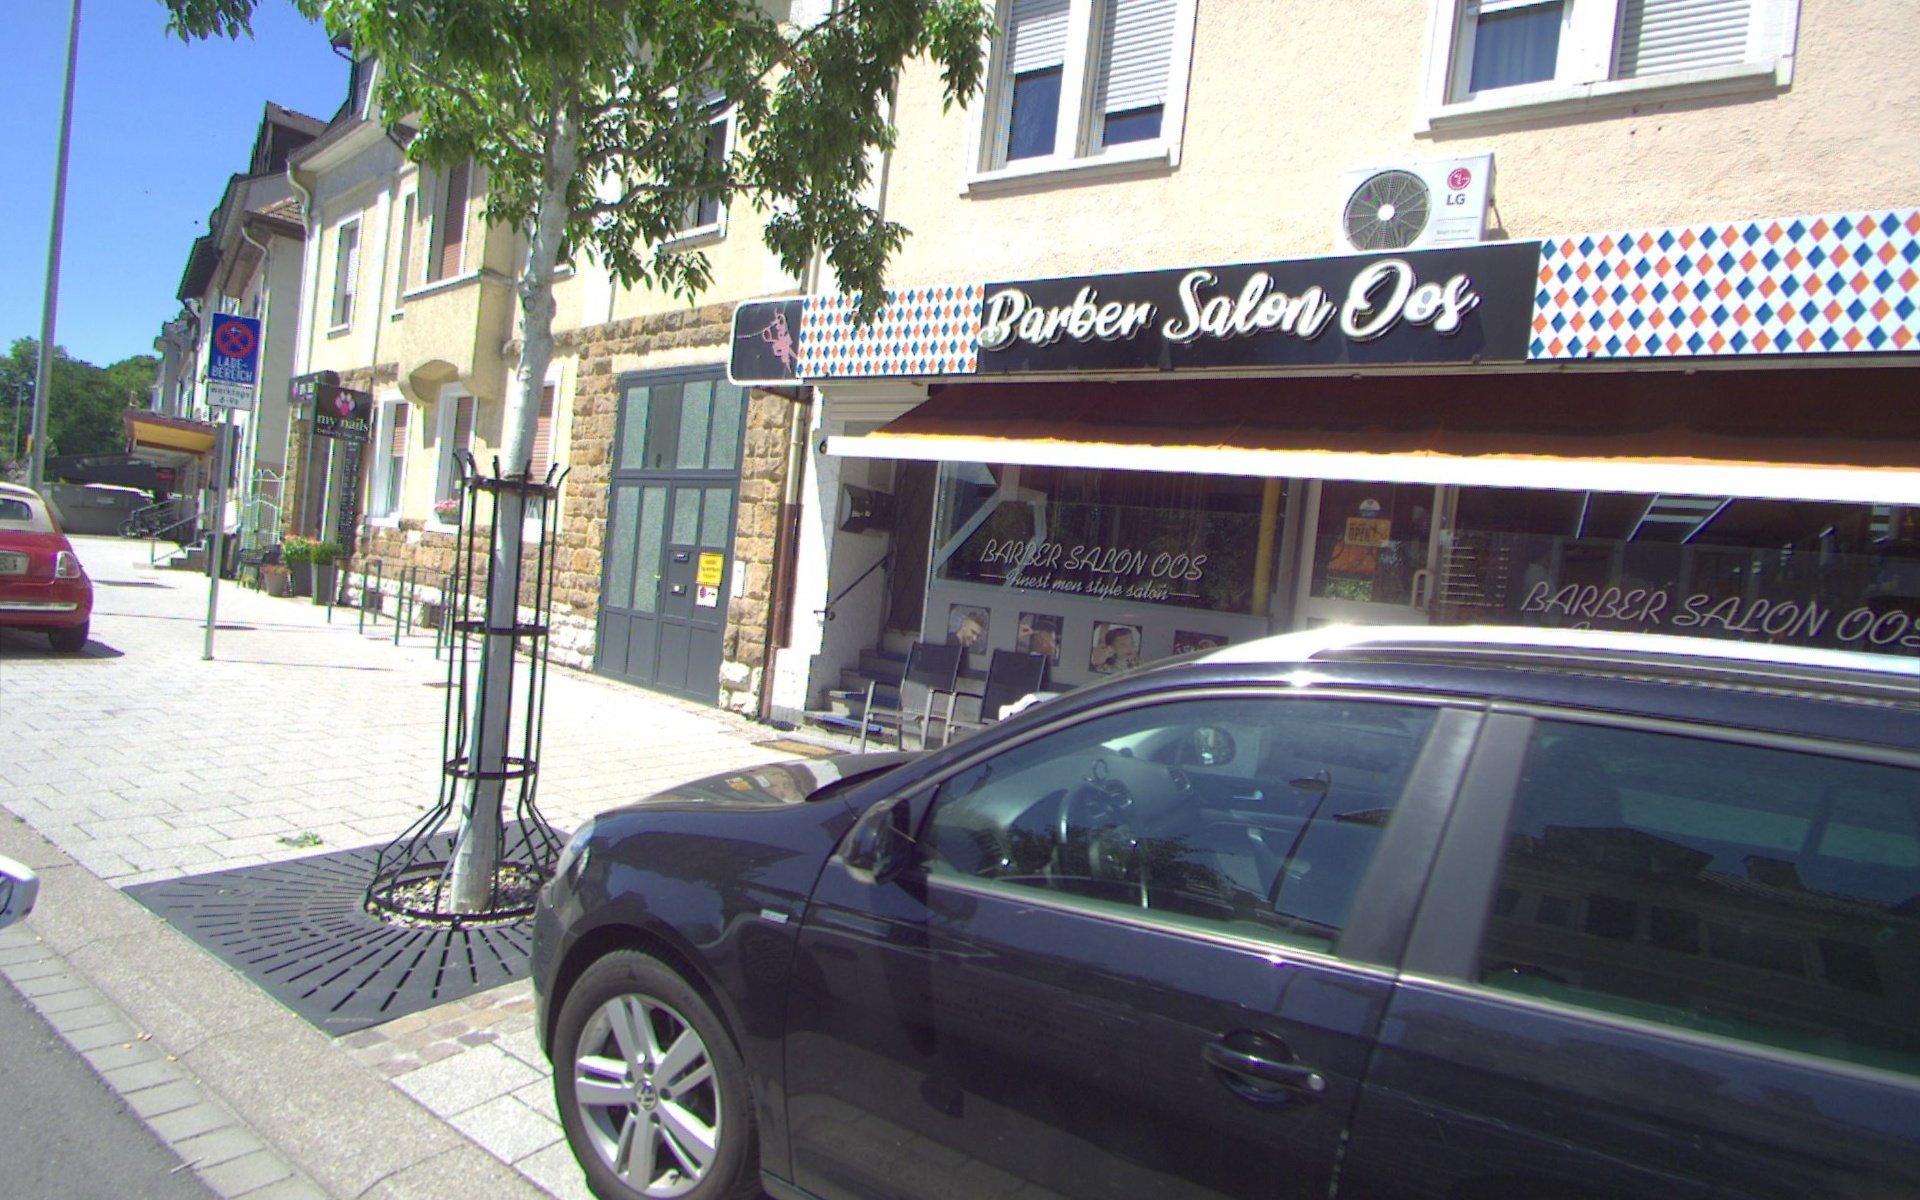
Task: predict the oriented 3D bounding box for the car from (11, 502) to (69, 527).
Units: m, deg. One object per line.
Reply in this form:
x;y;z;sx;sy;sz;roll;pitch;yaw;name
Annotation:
-64.502;-5.992;70.617;1.854;1.511;3.835;5;2;-25;car

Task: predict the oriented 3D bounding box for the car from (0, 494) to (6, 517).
-59.129;-5.819;60.552;1.713;1.423;4.565;5;1;-35;car

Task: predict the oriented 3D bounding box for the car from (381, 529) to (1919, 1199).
0.737;0.766;2.293;4.252;1.493;1.729;6;3;32;car

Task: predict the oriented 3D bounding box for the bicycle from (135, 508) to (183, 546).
-30.225;-2.742;37.987;1.261;1.197;0.411;8;-1;-32;bicycle

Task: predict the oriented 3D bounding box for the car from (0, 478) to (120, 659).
-9.562;-0.423;9.401;3.331;1.534;1.679;7;2;33;car
